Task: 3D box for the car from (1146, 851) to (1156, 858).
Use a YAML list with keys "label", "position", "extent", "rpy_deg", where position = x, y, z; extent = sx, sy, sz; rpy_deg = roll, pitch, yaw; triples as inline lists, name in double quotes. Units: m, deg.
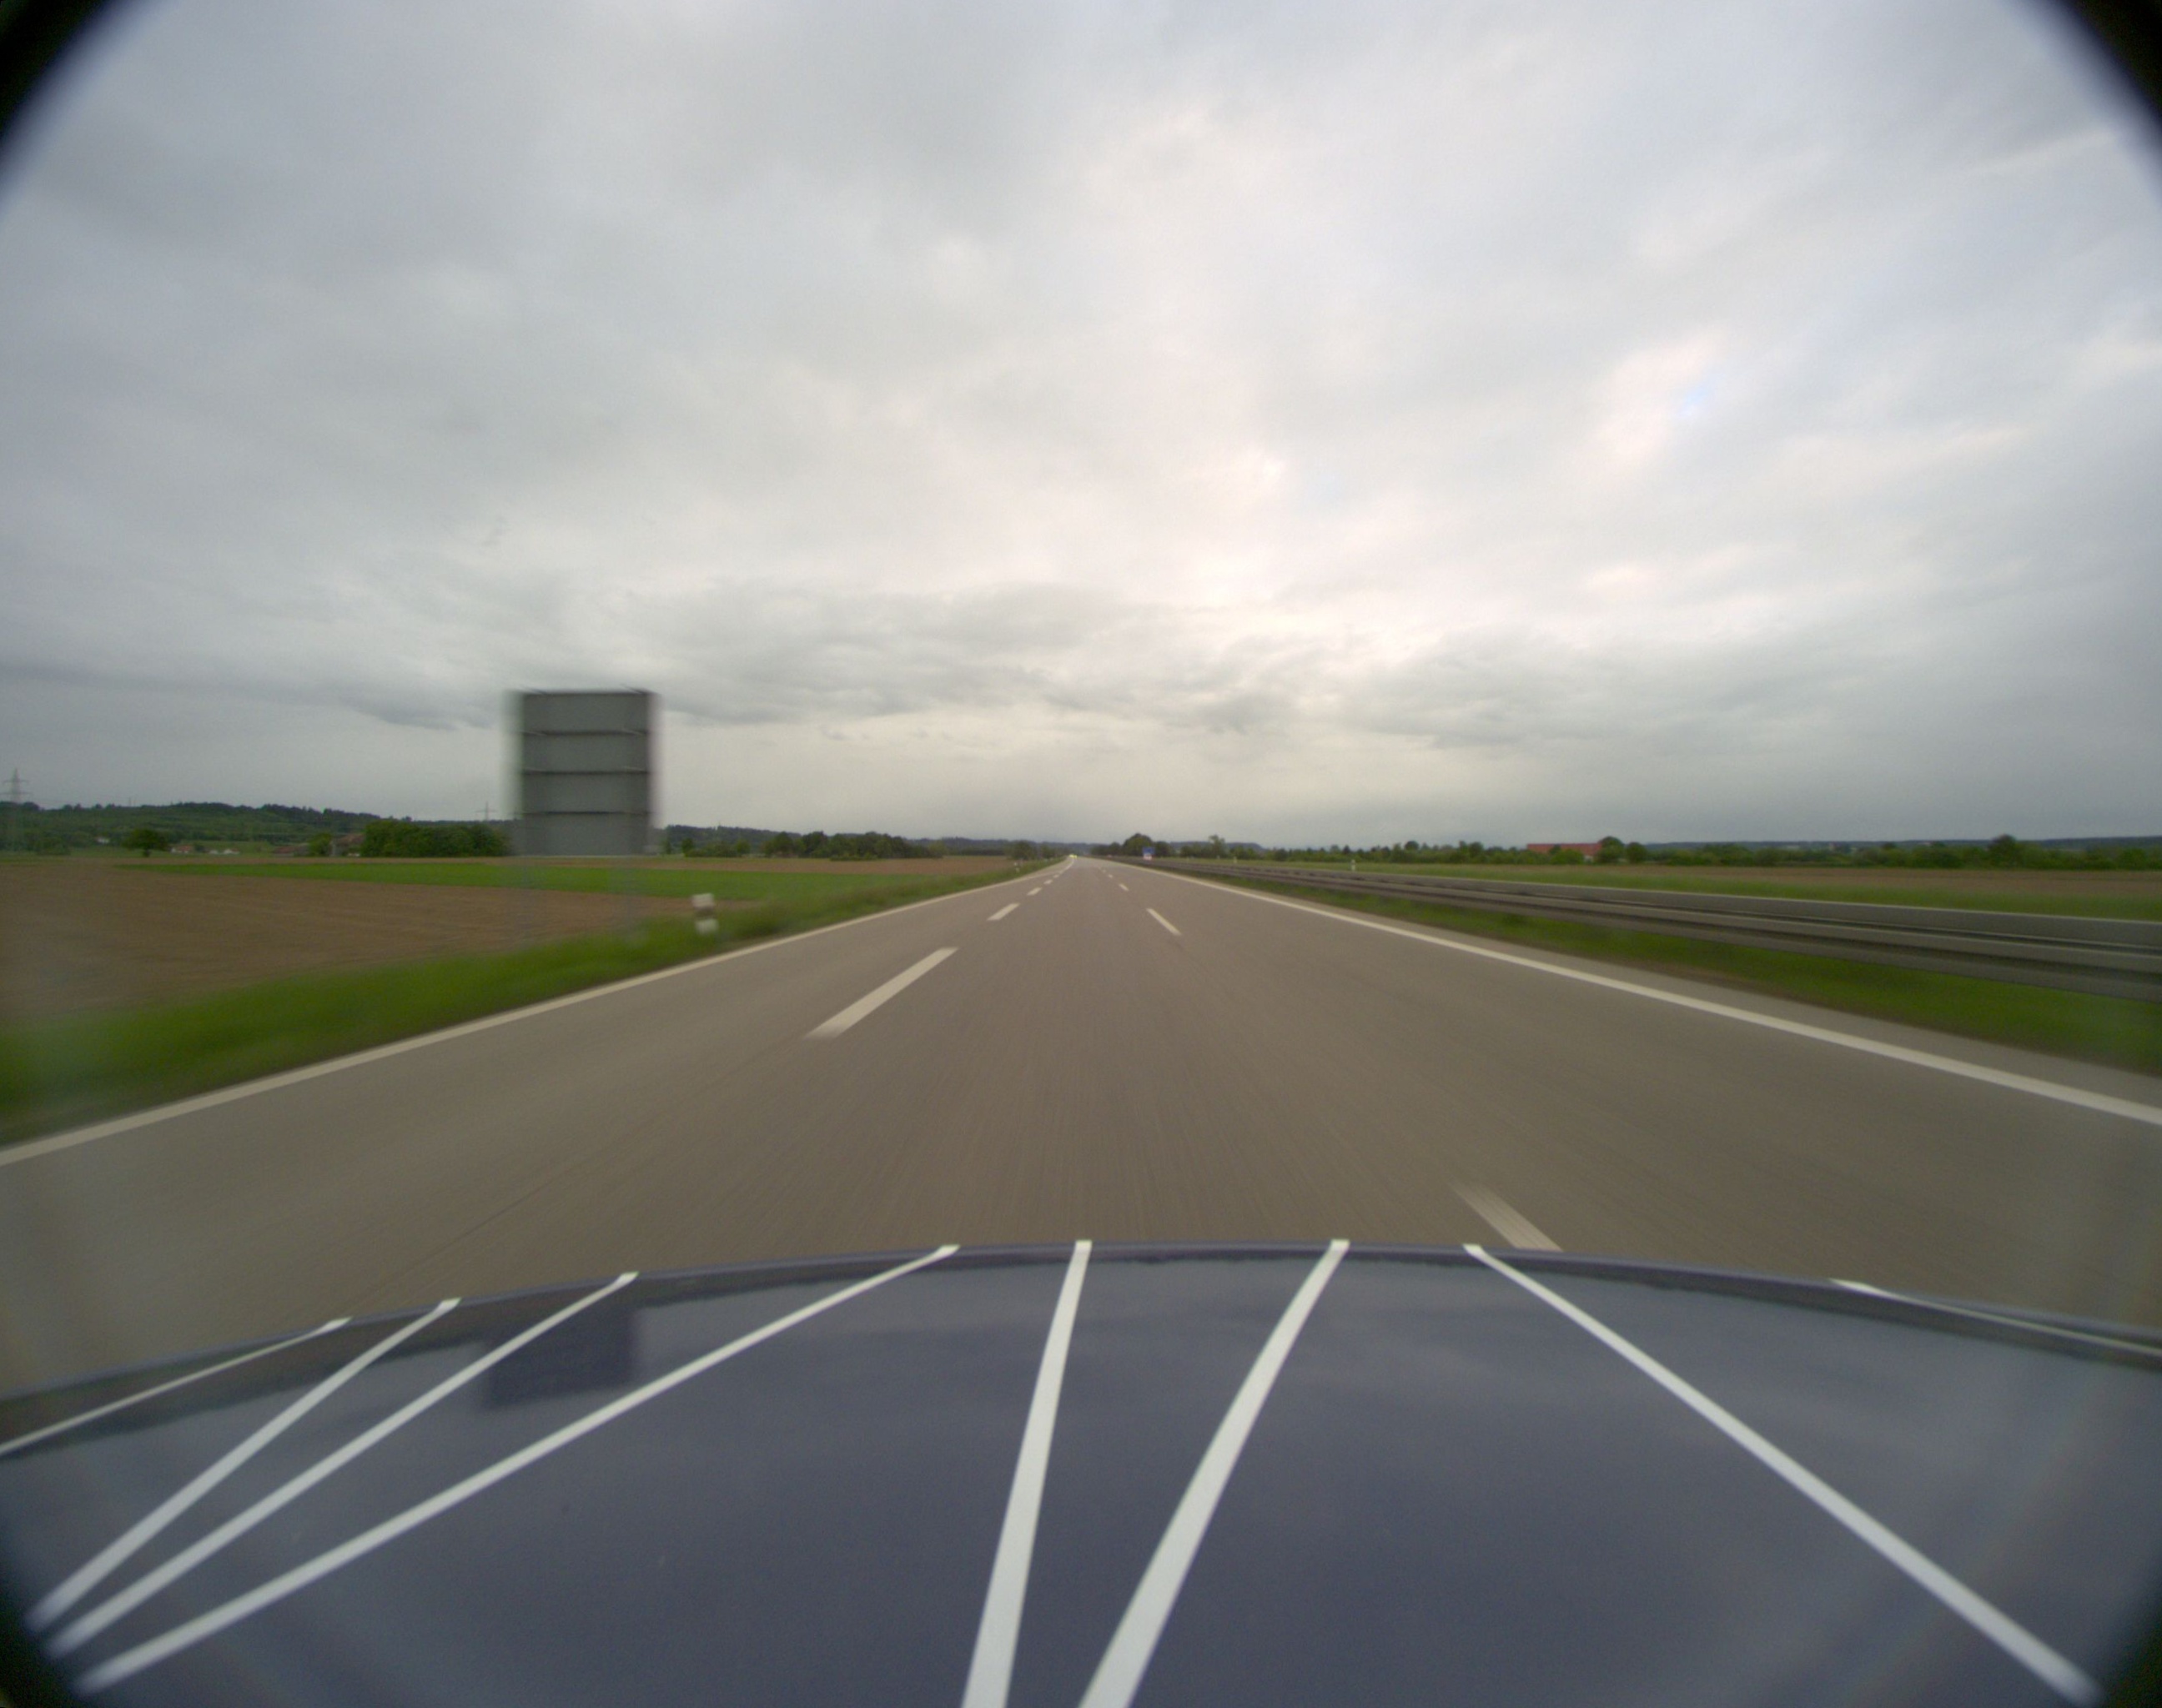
- label: "car"
  position: [18.465, 0.138, 200.740]
  extent: [1.999, 1.755, 4.951]
  rpy_deg: [-2, 0, 0]
